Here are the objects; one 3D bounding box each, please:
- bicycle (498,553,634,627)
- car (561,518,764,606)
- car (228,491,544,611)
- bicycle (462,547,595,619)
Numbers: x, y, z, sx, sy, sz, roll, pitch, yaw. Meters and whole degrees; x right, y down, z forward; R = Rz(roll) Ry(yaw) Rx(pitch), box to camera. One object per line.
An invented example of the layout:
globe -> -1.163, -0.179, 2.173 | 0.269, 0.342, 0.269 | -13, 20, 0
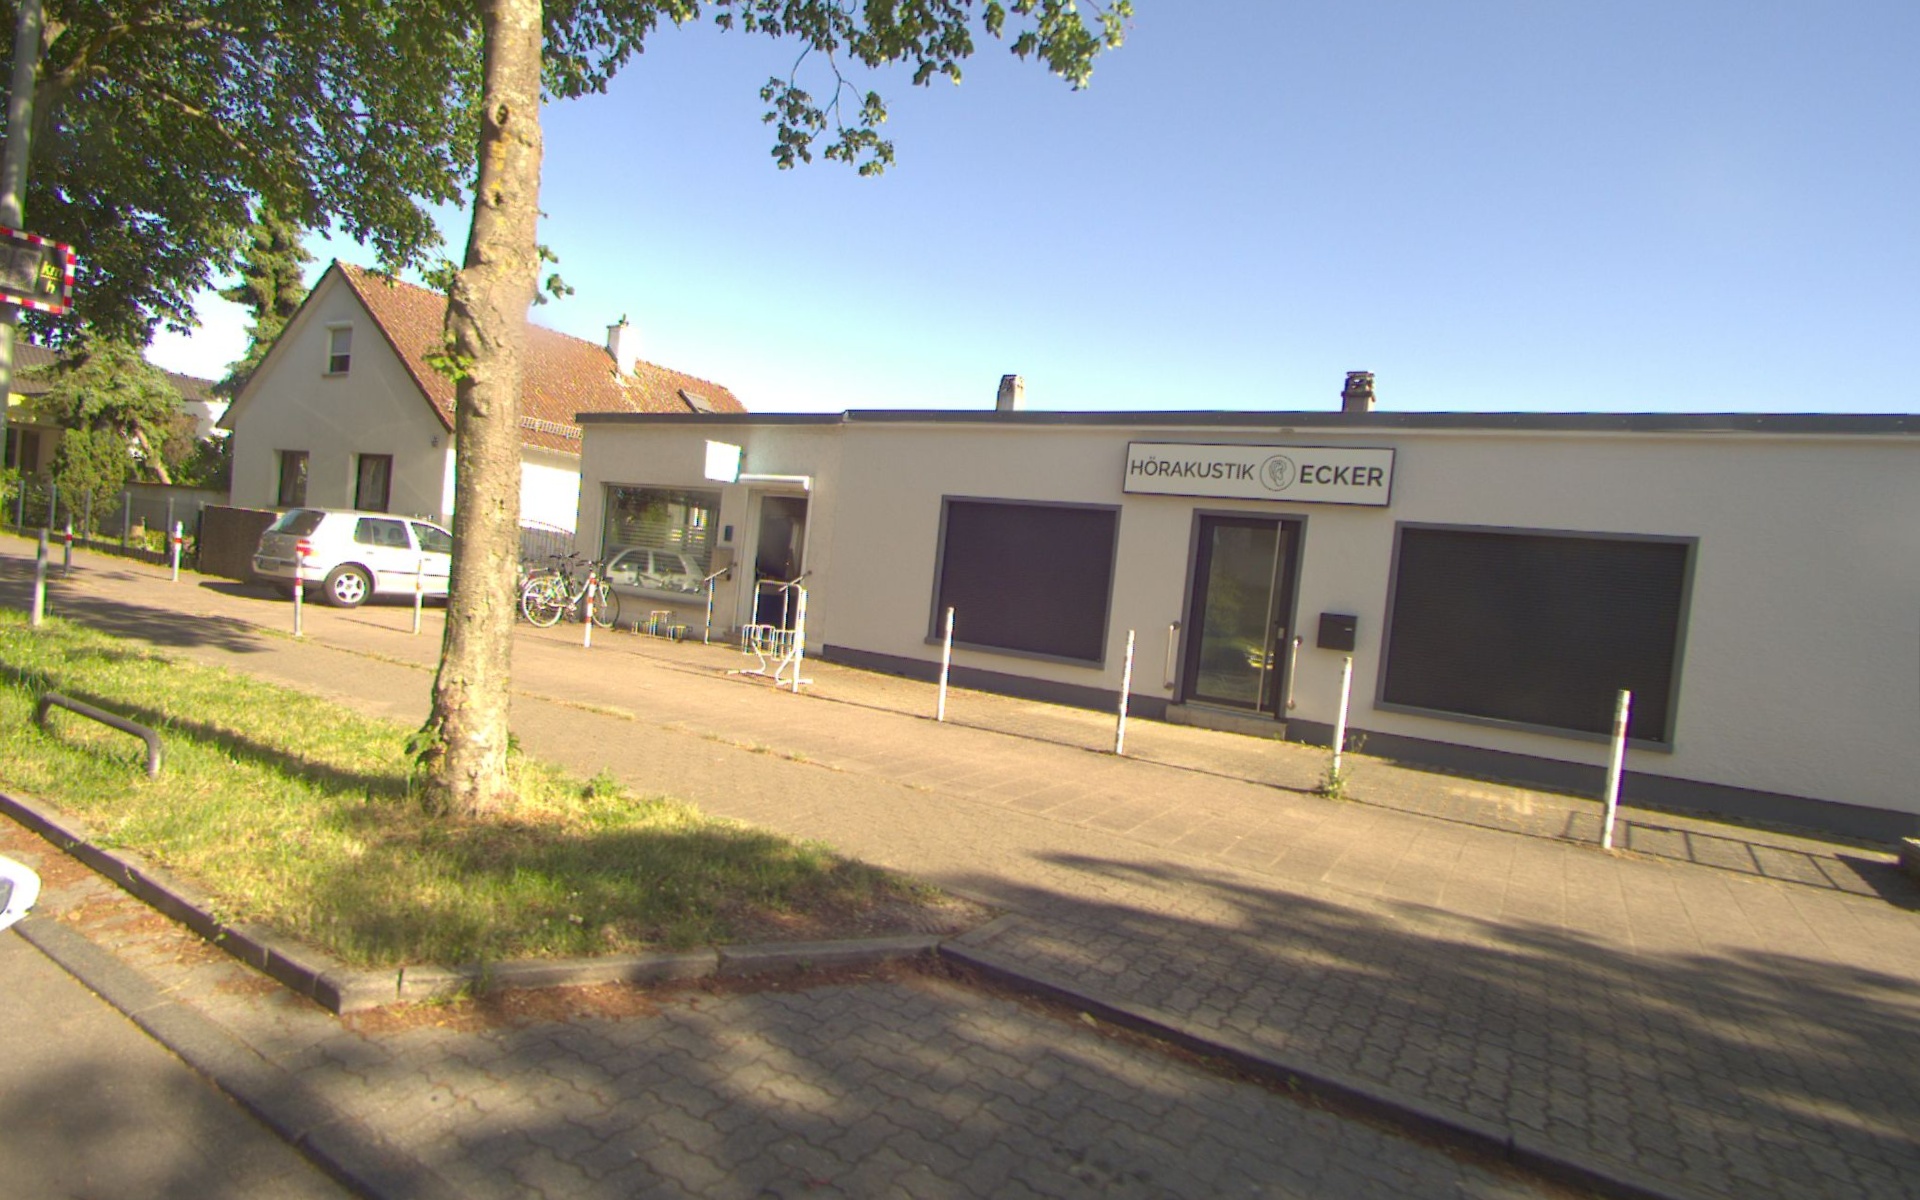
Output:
bicycle -> -6.065, -0.129, 15.597 | 0.566, 1.012, 1.959 | 9, 3, 29
car -> -6.355, -0.763, 21.929 | 1.869, 1.509, 3.990 | 8, 3, 28
car -> -9.133, -0.716, 16.337 | 1.869, 1.509, 3.989 | 8, 3, 30
bicycle -> -6.873, -0.247, 16.123 | 0.566, 1.012, 1.924 | 9, 3, 29
